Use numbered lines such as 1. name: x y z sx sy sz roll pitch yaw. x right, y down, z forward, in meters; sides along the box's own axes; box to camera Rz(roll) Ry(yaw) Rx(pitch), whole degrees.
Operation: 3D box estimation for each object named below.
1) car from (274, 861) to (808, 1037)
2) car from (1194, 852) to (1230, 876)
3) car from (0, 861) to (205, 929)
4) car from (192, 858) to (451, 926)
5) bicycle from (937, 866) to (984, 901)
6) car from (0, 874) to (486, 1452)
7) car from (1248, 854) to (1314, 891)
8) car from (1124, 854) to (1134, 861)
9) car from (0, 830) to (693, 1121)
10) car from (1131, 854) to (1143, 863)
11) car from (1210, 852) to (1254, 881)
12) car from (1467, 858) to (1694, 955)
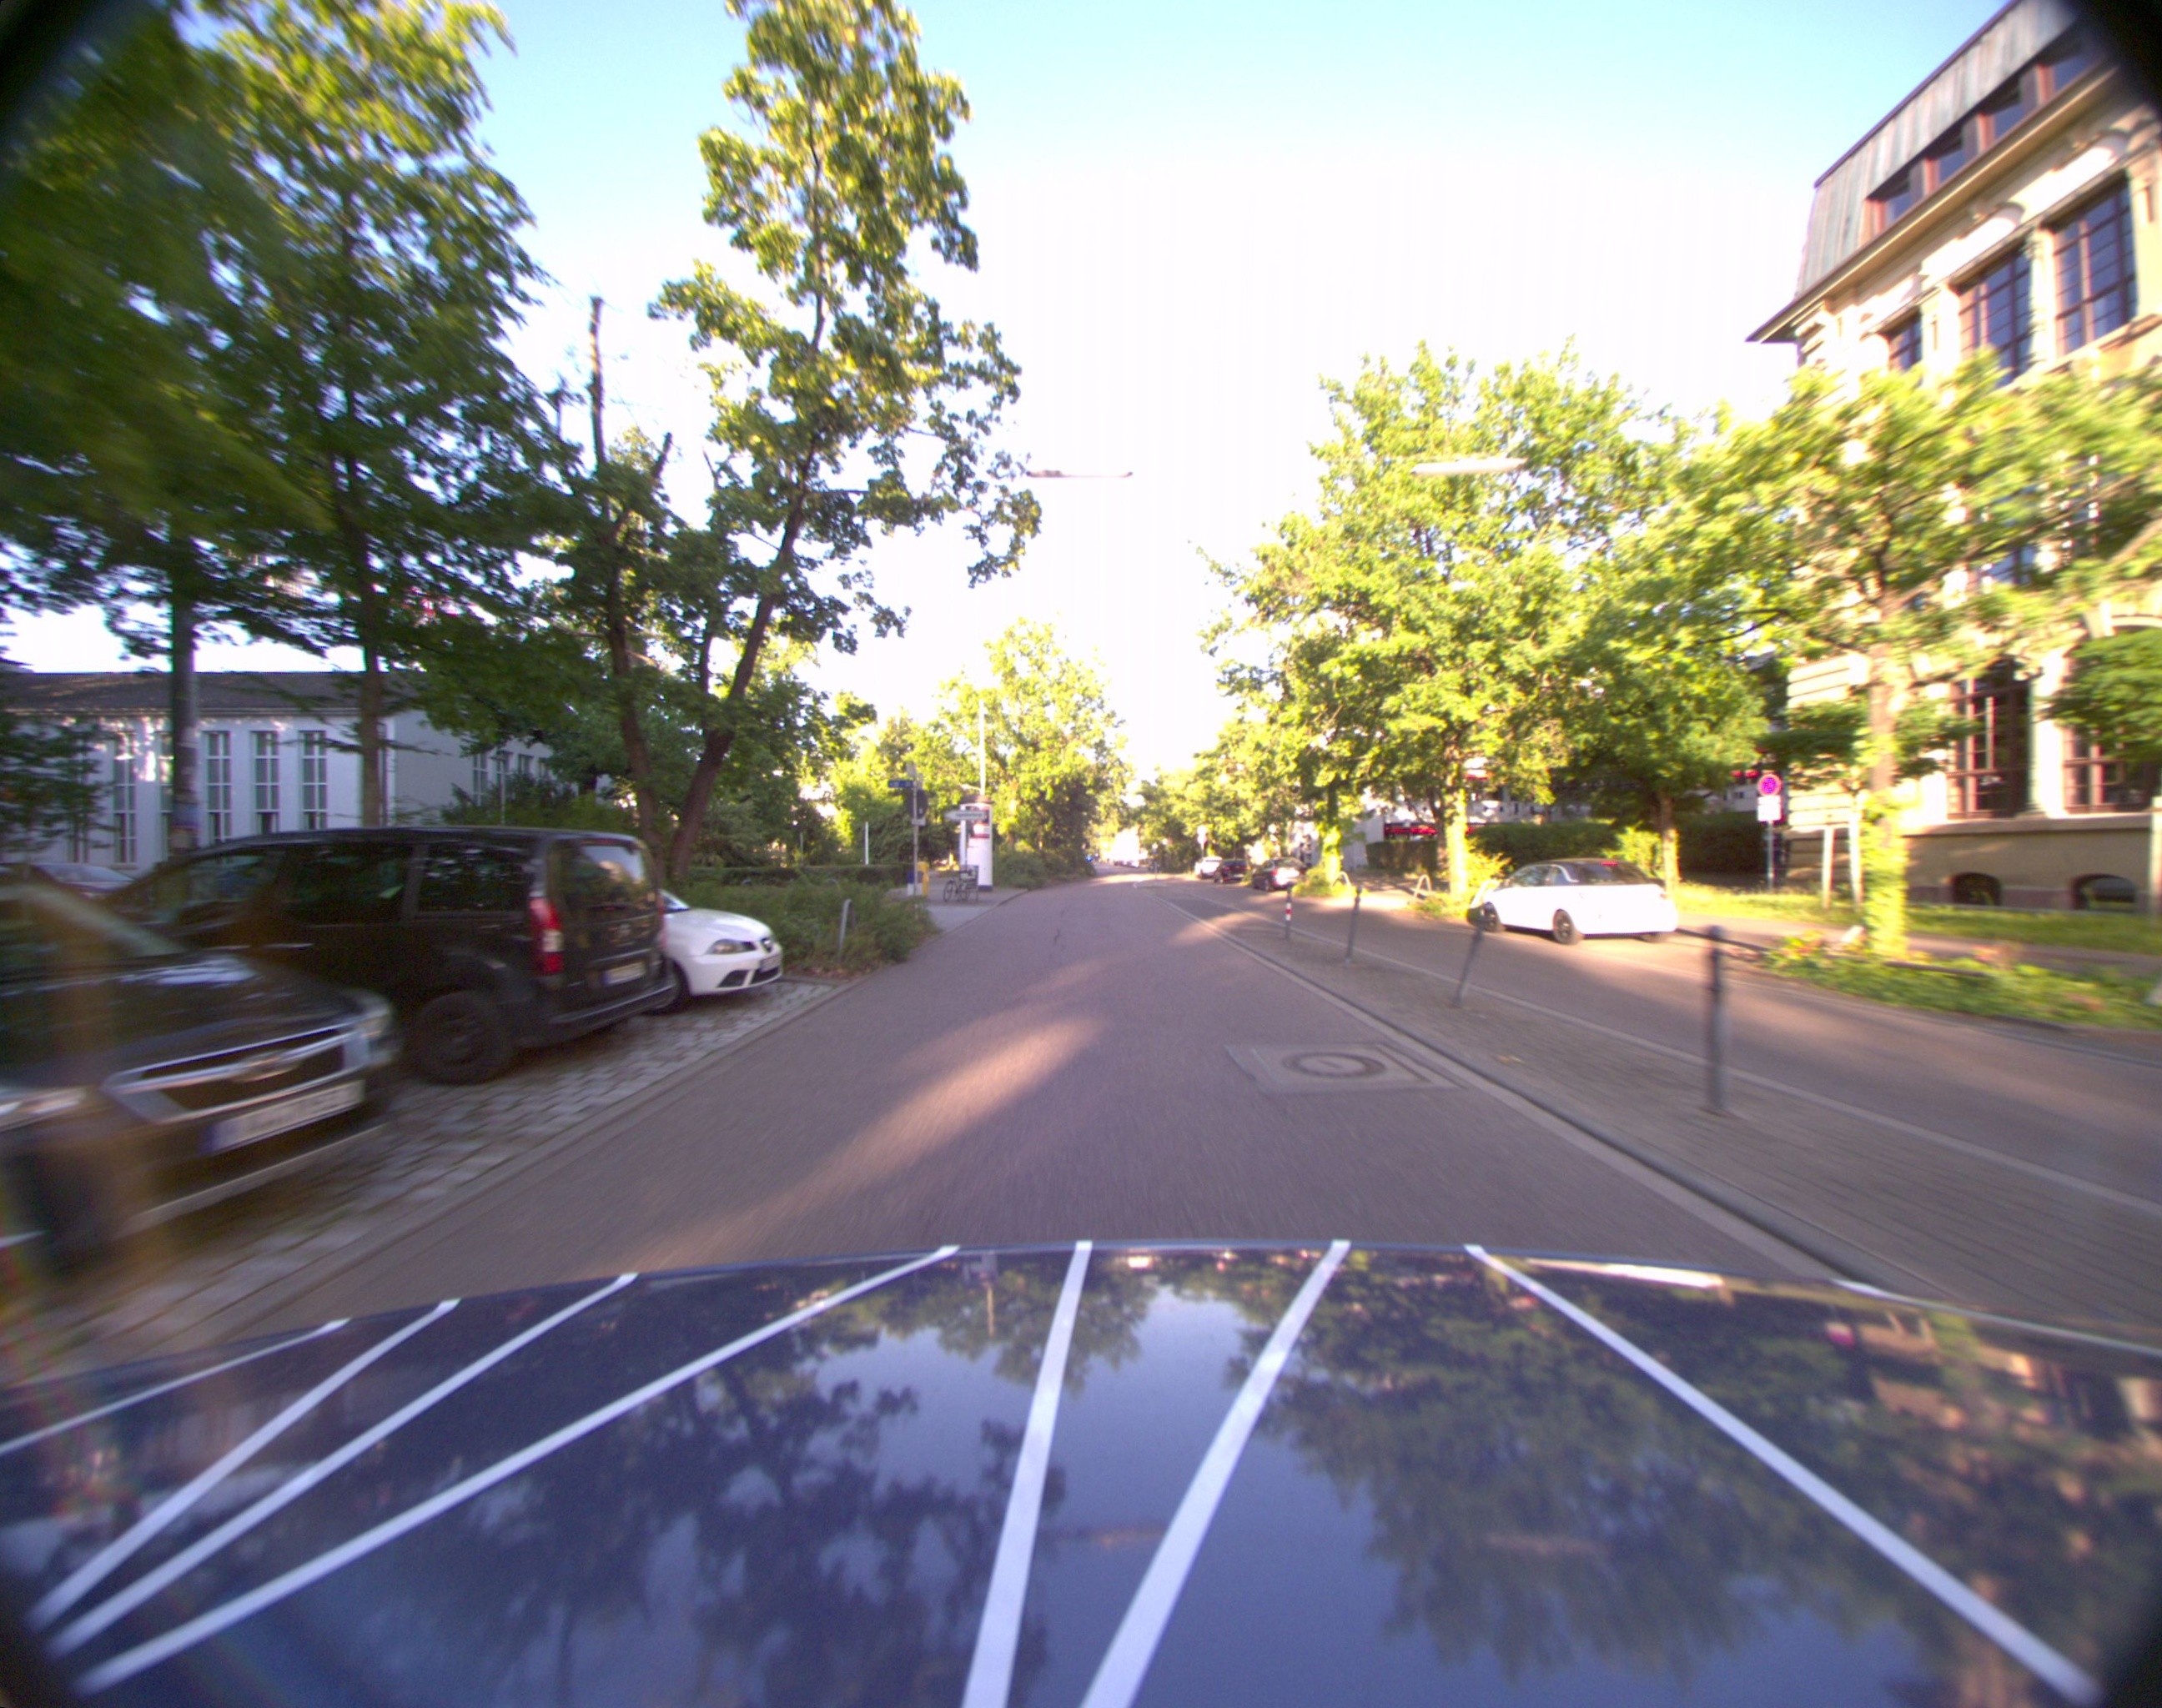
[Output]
1. car: -5.407 0.906 8.036 4.374 1.545 1.727 1 0 -1
2. car: 9.192 0.693 53.558 1.808 1.607 4.147 -1 0 0
3. car: -23.438 0.918 17.708 3.997 1.468 1.737 0 1 0
4. car: -17.483 0.848 17.647 4.150 1.434 1.835 0 0 0
5. bicycle: -4.144 1.018 26.385 0.493 1.141 2.289 3 0 20
6. car: -5.273 0.886 2.973 4.374 1.545 1.876 1 0 -1
7. car: 9.015 0.782 34.709 1.807 1.502 4.862 -1 0 1
8. car: 10.097 0.744 160.691 1.776 1.559 4.109 -2 0 0
9. car: -5.651 0.766 5.787 4.374 1.770 1.920 1 0 -1
10. car: 9.643 0.759 130.902 1.776 1.474 4.109 -2 0 0
11. car: 8.988 0.734 45.518 1.784 1.607 4.147 -1 0 0
12. car: 8.969 0.855 14.085 1.622 1.487 3.924 -1 0 0
